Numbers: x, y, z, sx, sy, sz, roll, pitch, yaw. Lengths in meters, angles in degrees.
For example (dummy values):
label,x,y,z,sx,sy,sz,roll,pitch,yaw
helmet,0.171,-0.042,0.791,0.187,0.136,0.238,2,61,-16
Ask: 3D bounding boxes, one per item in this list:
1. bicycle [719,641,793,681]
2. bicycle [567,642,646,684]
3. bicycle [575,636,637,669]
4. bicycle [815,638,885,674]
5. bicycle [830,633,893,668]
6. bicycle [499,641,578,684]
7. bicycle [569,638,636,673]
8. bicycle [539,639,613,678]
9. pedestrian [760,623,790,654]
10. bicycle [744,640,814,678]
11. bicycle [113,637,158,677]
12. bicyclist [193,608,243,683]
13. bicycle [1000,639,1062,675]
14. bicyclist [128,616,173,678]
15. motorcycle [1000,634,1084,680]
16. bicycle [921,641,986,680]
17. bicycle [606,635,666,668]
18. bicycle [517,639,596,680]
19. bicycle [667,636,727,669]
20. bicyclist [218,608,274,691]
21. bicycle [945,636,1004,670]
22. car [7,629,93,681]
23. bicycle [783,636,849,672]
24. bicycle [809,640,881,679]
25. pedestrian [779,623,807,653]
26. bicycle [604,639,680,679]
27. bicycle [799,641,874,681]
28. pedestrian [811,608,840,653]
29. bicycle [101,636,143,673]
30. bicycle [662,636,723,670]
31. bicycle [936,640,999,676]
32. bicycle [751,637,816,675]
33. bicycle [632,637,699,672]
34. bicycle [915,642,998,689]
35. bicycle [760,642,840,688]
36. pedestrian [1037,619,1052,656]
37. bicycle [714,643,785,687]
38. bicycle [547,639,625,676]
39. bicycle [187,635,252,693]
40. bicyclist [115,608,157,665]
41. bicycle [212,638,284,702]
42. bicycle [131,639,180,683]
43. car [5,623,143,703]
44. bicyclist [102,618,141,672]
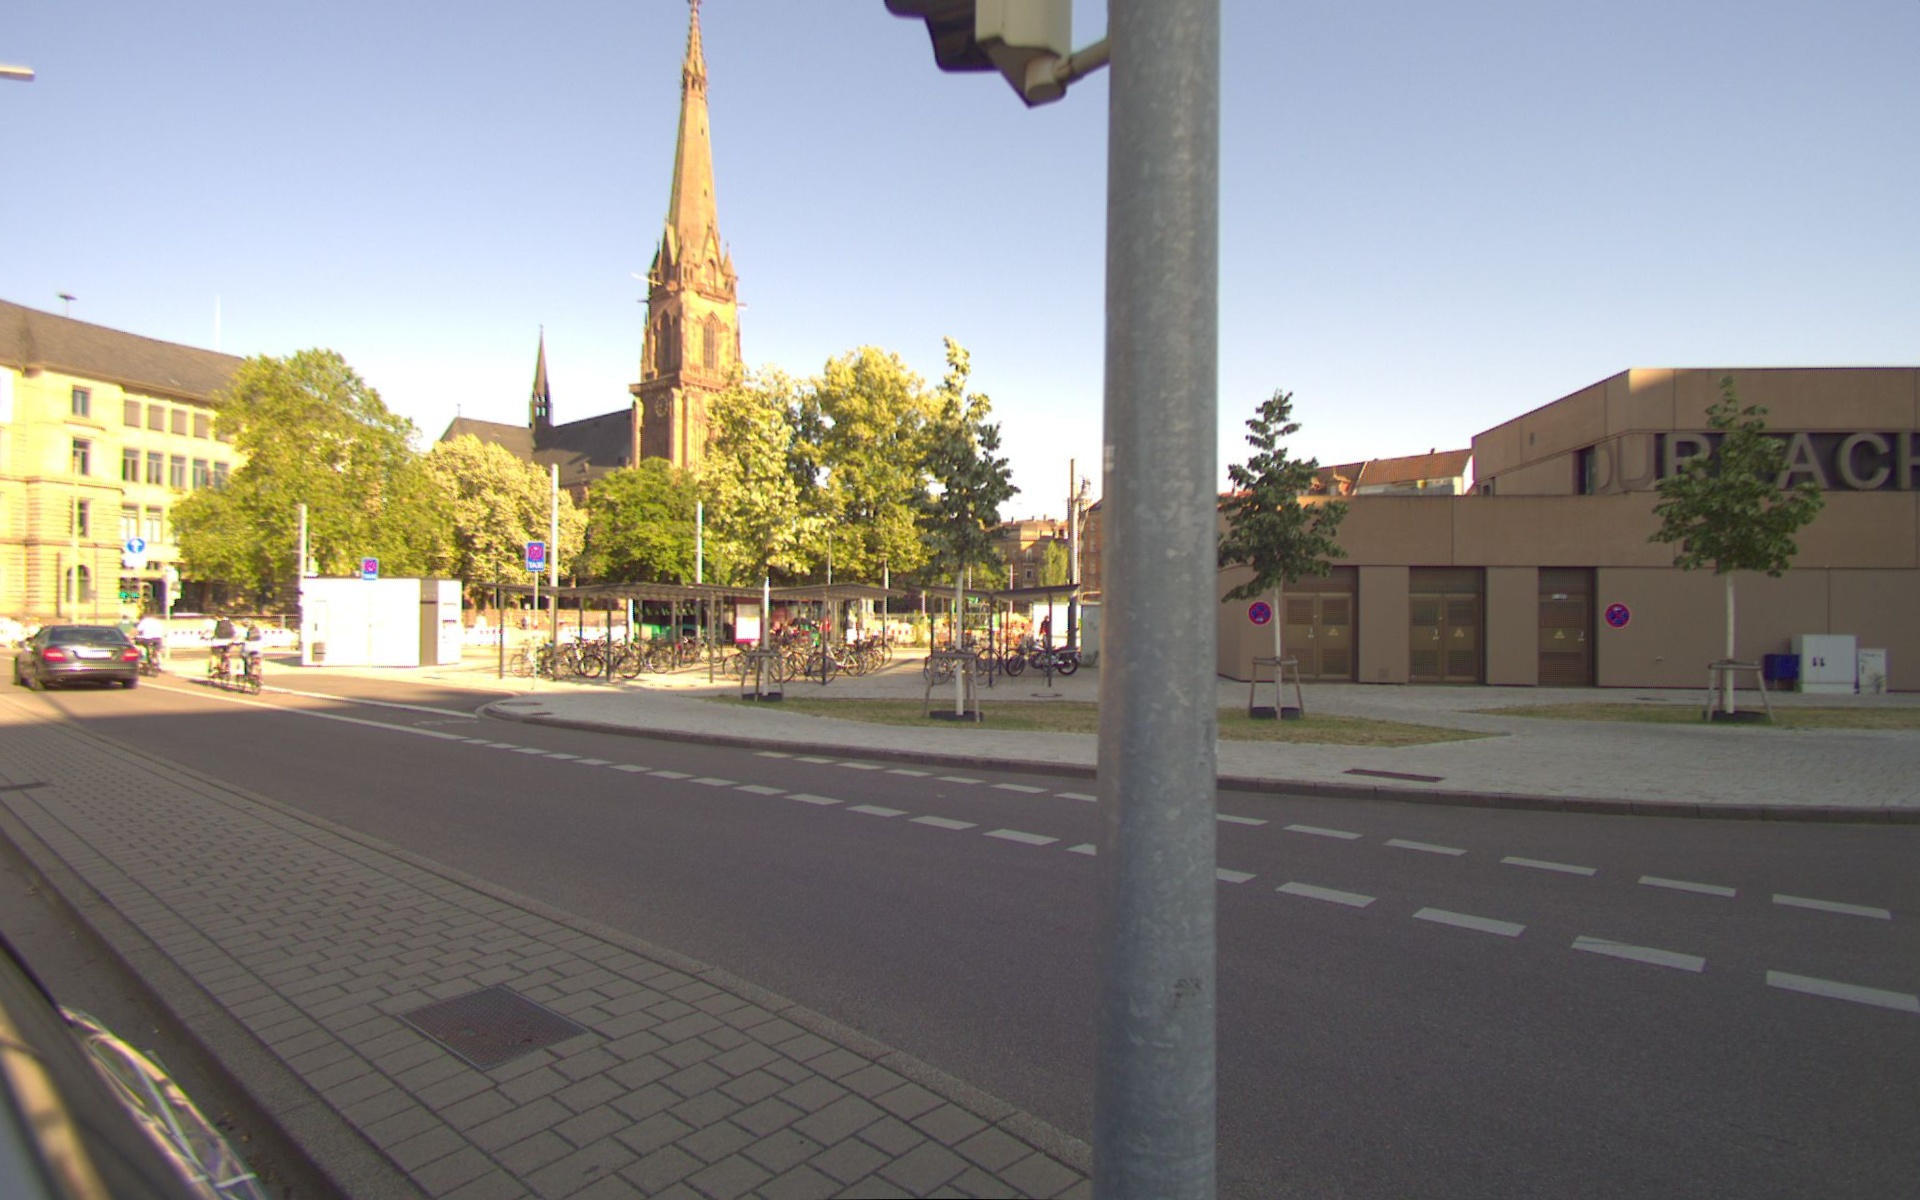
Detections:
label,x,y,z,sx,sy,sz,roll,pitch,yaw
bicycle,-5.797,1.716,28.793,1.906,1.051,0.865,1,0,4
bicycle,-9.476,1.682,27.168,1.947,1.062,0.566,1,0,3
bicycle,-11.919,1.756,34.105,1.947,1.062,0.497,1,0,2
bicycle,-3.393,1.738,31.342,2.080,1.051,0.603,1,0,4
bicycle,-3.279,1.690,33.754,2.045,1.097,0.566,1,0,5
bicycle,-11.189,1.653,26.896,1.952,1.062,0.565,1,0,11
bicycle,-11.410,1.761,32.347,1.945,1.062,0.511,1,0,-2
bicycle,-11.170,1.700,29.425,1.913,1.062,0.681,1,0,7
pedestrian,-8.536,1.782,46.812,1.066,1.359,1.051,-1,0,8
bicycle,-5.391,1.747,30.206,1.906,1.051,0.766,1,0,4
bicycle,-24.541,1.680,30.112,0.869,1.105,2.191,2,-2,-43
bicyclist,-17.359,1.036,23.671,1.062,1.681,0.754,-1,0,43
bicycle,2.147,1.722,30.746,1.823,1.051,0.523,1,0,2
bicyclist,-22.316,1.284,27.894,0.853,1.666,0.945,2,-2,-43
motorcycle,2.329,1.617,28.778,2.328,1.257,0.718,-1,0,8
bicycle,-0.181,1.702,28.584,1.823,1.051,0.523,1,0,1
bicycle,-11.059,1.740,34.585,1.949,1.062,0.417,1,0,7
bicycle,-11.342,1.668,28.466,1.998,1.062,0.681,1,0,7
bicycle,-8.999,1.780,34.613,1.949,1.062,0.417,1,0,7
bicyclist,-15.093,1.018,21.389,1.062,1.681,0.754,-1,0,43
bicycle,0.488,1.750,33.254,1.907,1.051,0.522,1,0,5
car,-25.652,1.499,28.500,3.502,1.348,1.365,-1,-2,41
bicycle,-4.643,1.750,32.677,2.045,1.097,0.566,1,0,5
bicycle,-3.390,1.749,29.829,2.011,1.051,0.602,1,0,9
pedestrian,-7.974,1.799,48.287,1.066,1.359,1.051,-1,0,8
bicycle,-9.198,1.704,29.283,1.949,1.062,0.757,1,0,6
bicycle,-3.501,1.726,28.719,2.009,1.051,0.603,1,0,6
pedestrian,-6.213,1.384,46.742,1.018,2.029,1.132,-1,0,8
bicycle,-26.451,1.699,31.940,0.869,1.105,2.191,2,-2,-43
bicycle,-9.035,1.784,34.188,1.949,1.062,0.417,1,0,7
bicycle,0.229,1.769,30.973,1.907,1.051,0.522,1,0,5
bicycle,-5.500,1.736,31.557,1.907,1.097,0.536,1,0,5
bicycle,-9.330,1.726,32.067,1.947,1.062,0.566,1,0,3
bicycle,-0.082,1.664,25.842,2.096,1.114,0.744,-1,0,2
bicycle,-4.140,1.684,26.229,1.949,1.114,0.566,1,0,6
pedestrian,3.990,1.767,47.702,0.484,1.699,0.538,-1,-2,42
bicycle,-5.568,1.703,26.753,1.776,1.114,0.485,1,0,0
bicycle,-11.460,1.748,31.040,2.092,1.062,0.837,1,0,4
bicycle,-17.319,1.459,23.642,2.606,1.196,0.754,0,0,44
bicyclist,-24.467,1.082,30.049,0.853,1.666,0.945,1,-2,-44
bicycle,-15.073,1.441,21.388,2.606,1.196,0.754,0,0,44
bicycle,-22.216,1.663,27.927,0.869,1.105,2.191,2,-2,-43
car,-19.615,1.311,22.355,3.976,1.455,1.782,1,0,41
bicyclist,-26.452,1.408,31.937,0.853,1.666,0.945,2,-2,-43
